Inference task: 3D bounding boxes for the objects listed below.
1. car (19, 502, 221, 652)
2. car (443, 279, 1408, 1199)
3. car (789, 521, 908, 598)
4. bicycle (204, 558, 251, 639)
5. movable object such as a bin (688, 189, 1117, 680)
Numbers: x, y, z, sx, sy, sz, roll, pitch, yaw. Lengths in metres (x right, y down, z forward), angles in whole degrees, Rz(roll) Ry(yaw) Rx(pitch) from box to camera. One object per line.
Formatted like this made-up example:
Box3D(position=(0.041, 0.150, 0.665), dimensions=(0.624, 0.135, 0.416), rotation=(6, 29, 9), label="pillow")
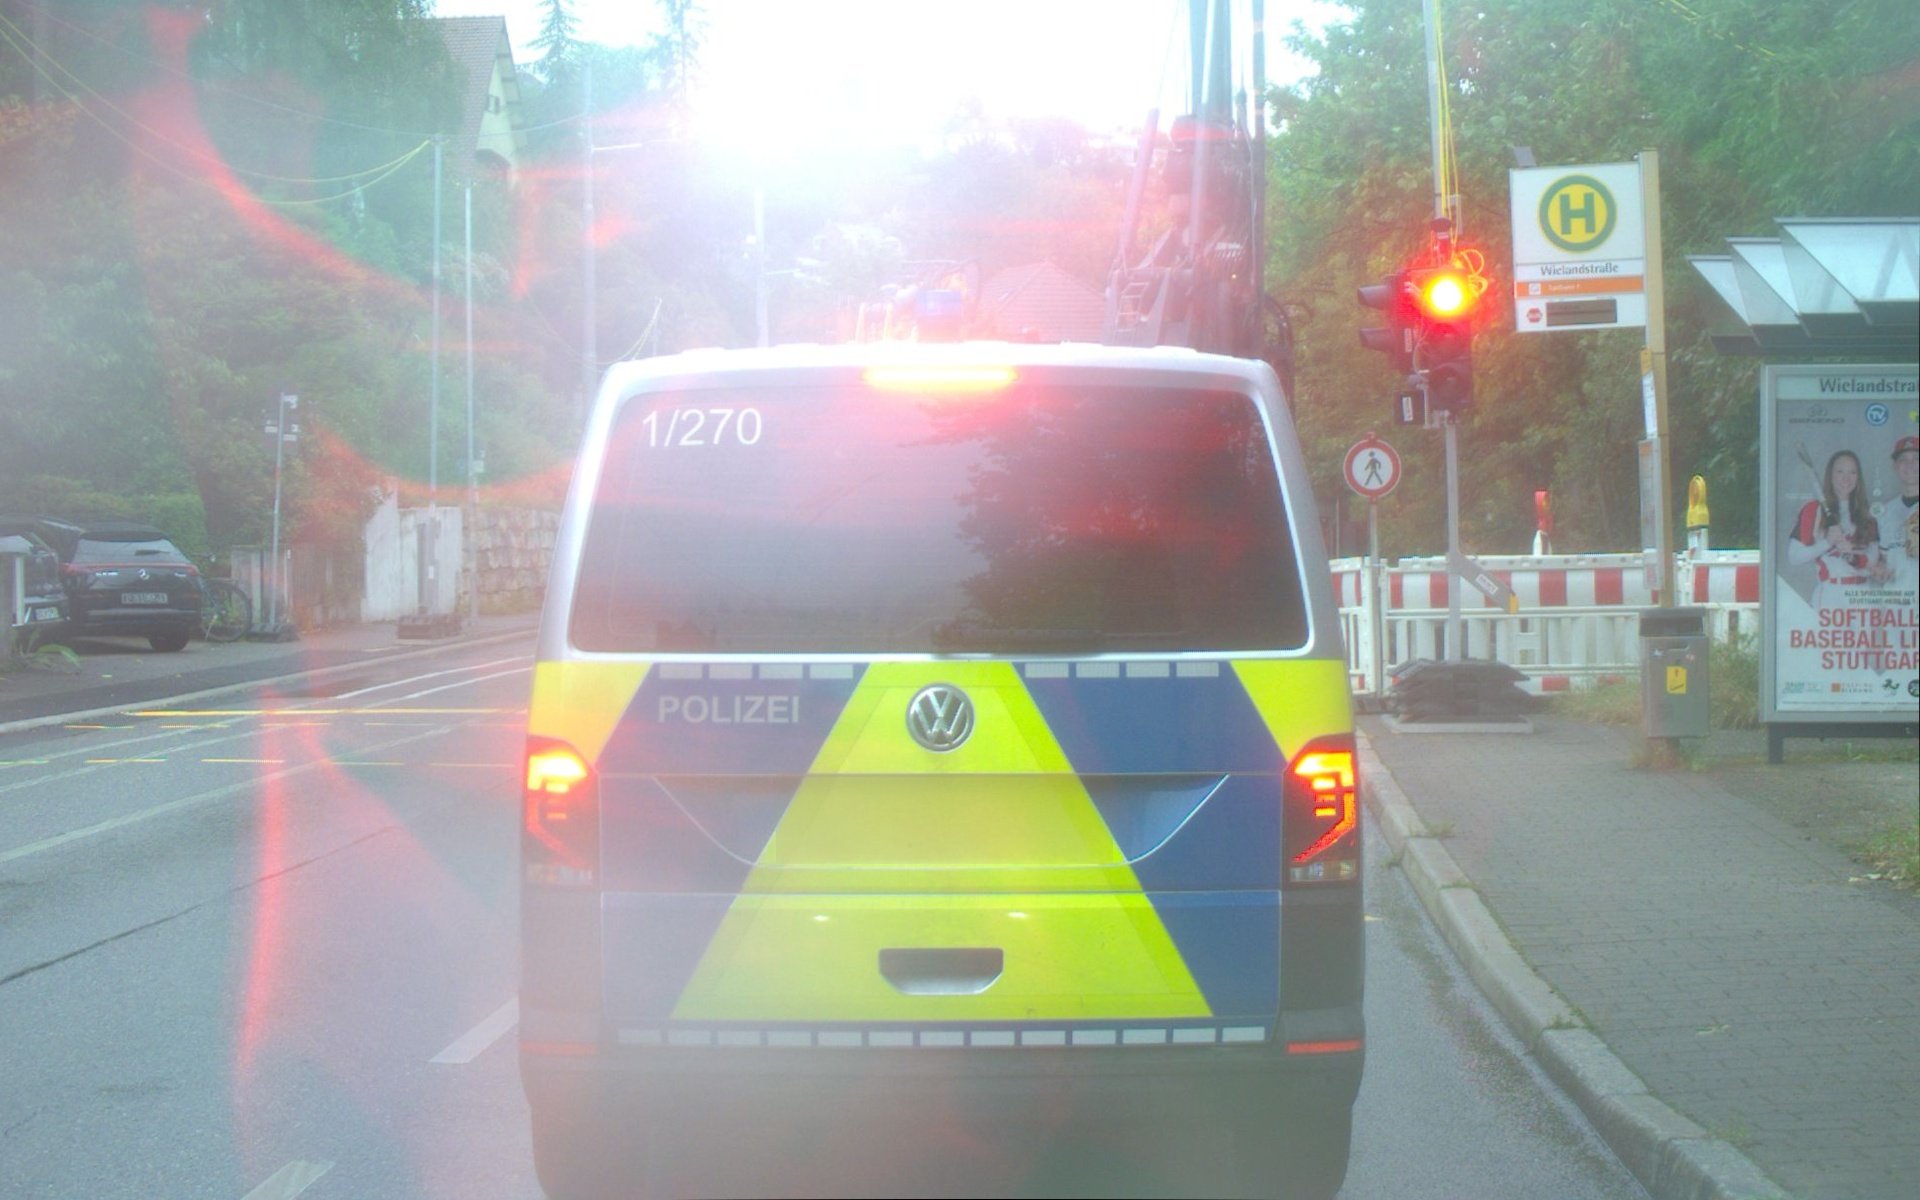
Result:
Box3D(position=(-9.324, -0.283, 37.978), dimensions=(1.765, 1.481, 3.743), rotation=(1, 3, -20), label="car")
Box3D(position=(-0.094, 0.357, 8.835), dimensions=(1.893, 2.043, 4.000), rotation=(1, 1, -1), label="car")
Box3D(position=(-2.290, -0.832, 71.753), dimensions=(1.853, 1.522, 4.819), rotation=(1, 1, 6), label="car")
Box3D(position=(-8.443, -0.024, 39.595), dimensions=(0.462, 0.894, 1.634), rotation=(0, 1, -15), label="bicycle")
Box3D(position=(-0.421, -1.463, 31.634), dimensions=(2.832, 4.163, 4.378), rotation=(1, 1, 15), label="movable object such as a bin")
